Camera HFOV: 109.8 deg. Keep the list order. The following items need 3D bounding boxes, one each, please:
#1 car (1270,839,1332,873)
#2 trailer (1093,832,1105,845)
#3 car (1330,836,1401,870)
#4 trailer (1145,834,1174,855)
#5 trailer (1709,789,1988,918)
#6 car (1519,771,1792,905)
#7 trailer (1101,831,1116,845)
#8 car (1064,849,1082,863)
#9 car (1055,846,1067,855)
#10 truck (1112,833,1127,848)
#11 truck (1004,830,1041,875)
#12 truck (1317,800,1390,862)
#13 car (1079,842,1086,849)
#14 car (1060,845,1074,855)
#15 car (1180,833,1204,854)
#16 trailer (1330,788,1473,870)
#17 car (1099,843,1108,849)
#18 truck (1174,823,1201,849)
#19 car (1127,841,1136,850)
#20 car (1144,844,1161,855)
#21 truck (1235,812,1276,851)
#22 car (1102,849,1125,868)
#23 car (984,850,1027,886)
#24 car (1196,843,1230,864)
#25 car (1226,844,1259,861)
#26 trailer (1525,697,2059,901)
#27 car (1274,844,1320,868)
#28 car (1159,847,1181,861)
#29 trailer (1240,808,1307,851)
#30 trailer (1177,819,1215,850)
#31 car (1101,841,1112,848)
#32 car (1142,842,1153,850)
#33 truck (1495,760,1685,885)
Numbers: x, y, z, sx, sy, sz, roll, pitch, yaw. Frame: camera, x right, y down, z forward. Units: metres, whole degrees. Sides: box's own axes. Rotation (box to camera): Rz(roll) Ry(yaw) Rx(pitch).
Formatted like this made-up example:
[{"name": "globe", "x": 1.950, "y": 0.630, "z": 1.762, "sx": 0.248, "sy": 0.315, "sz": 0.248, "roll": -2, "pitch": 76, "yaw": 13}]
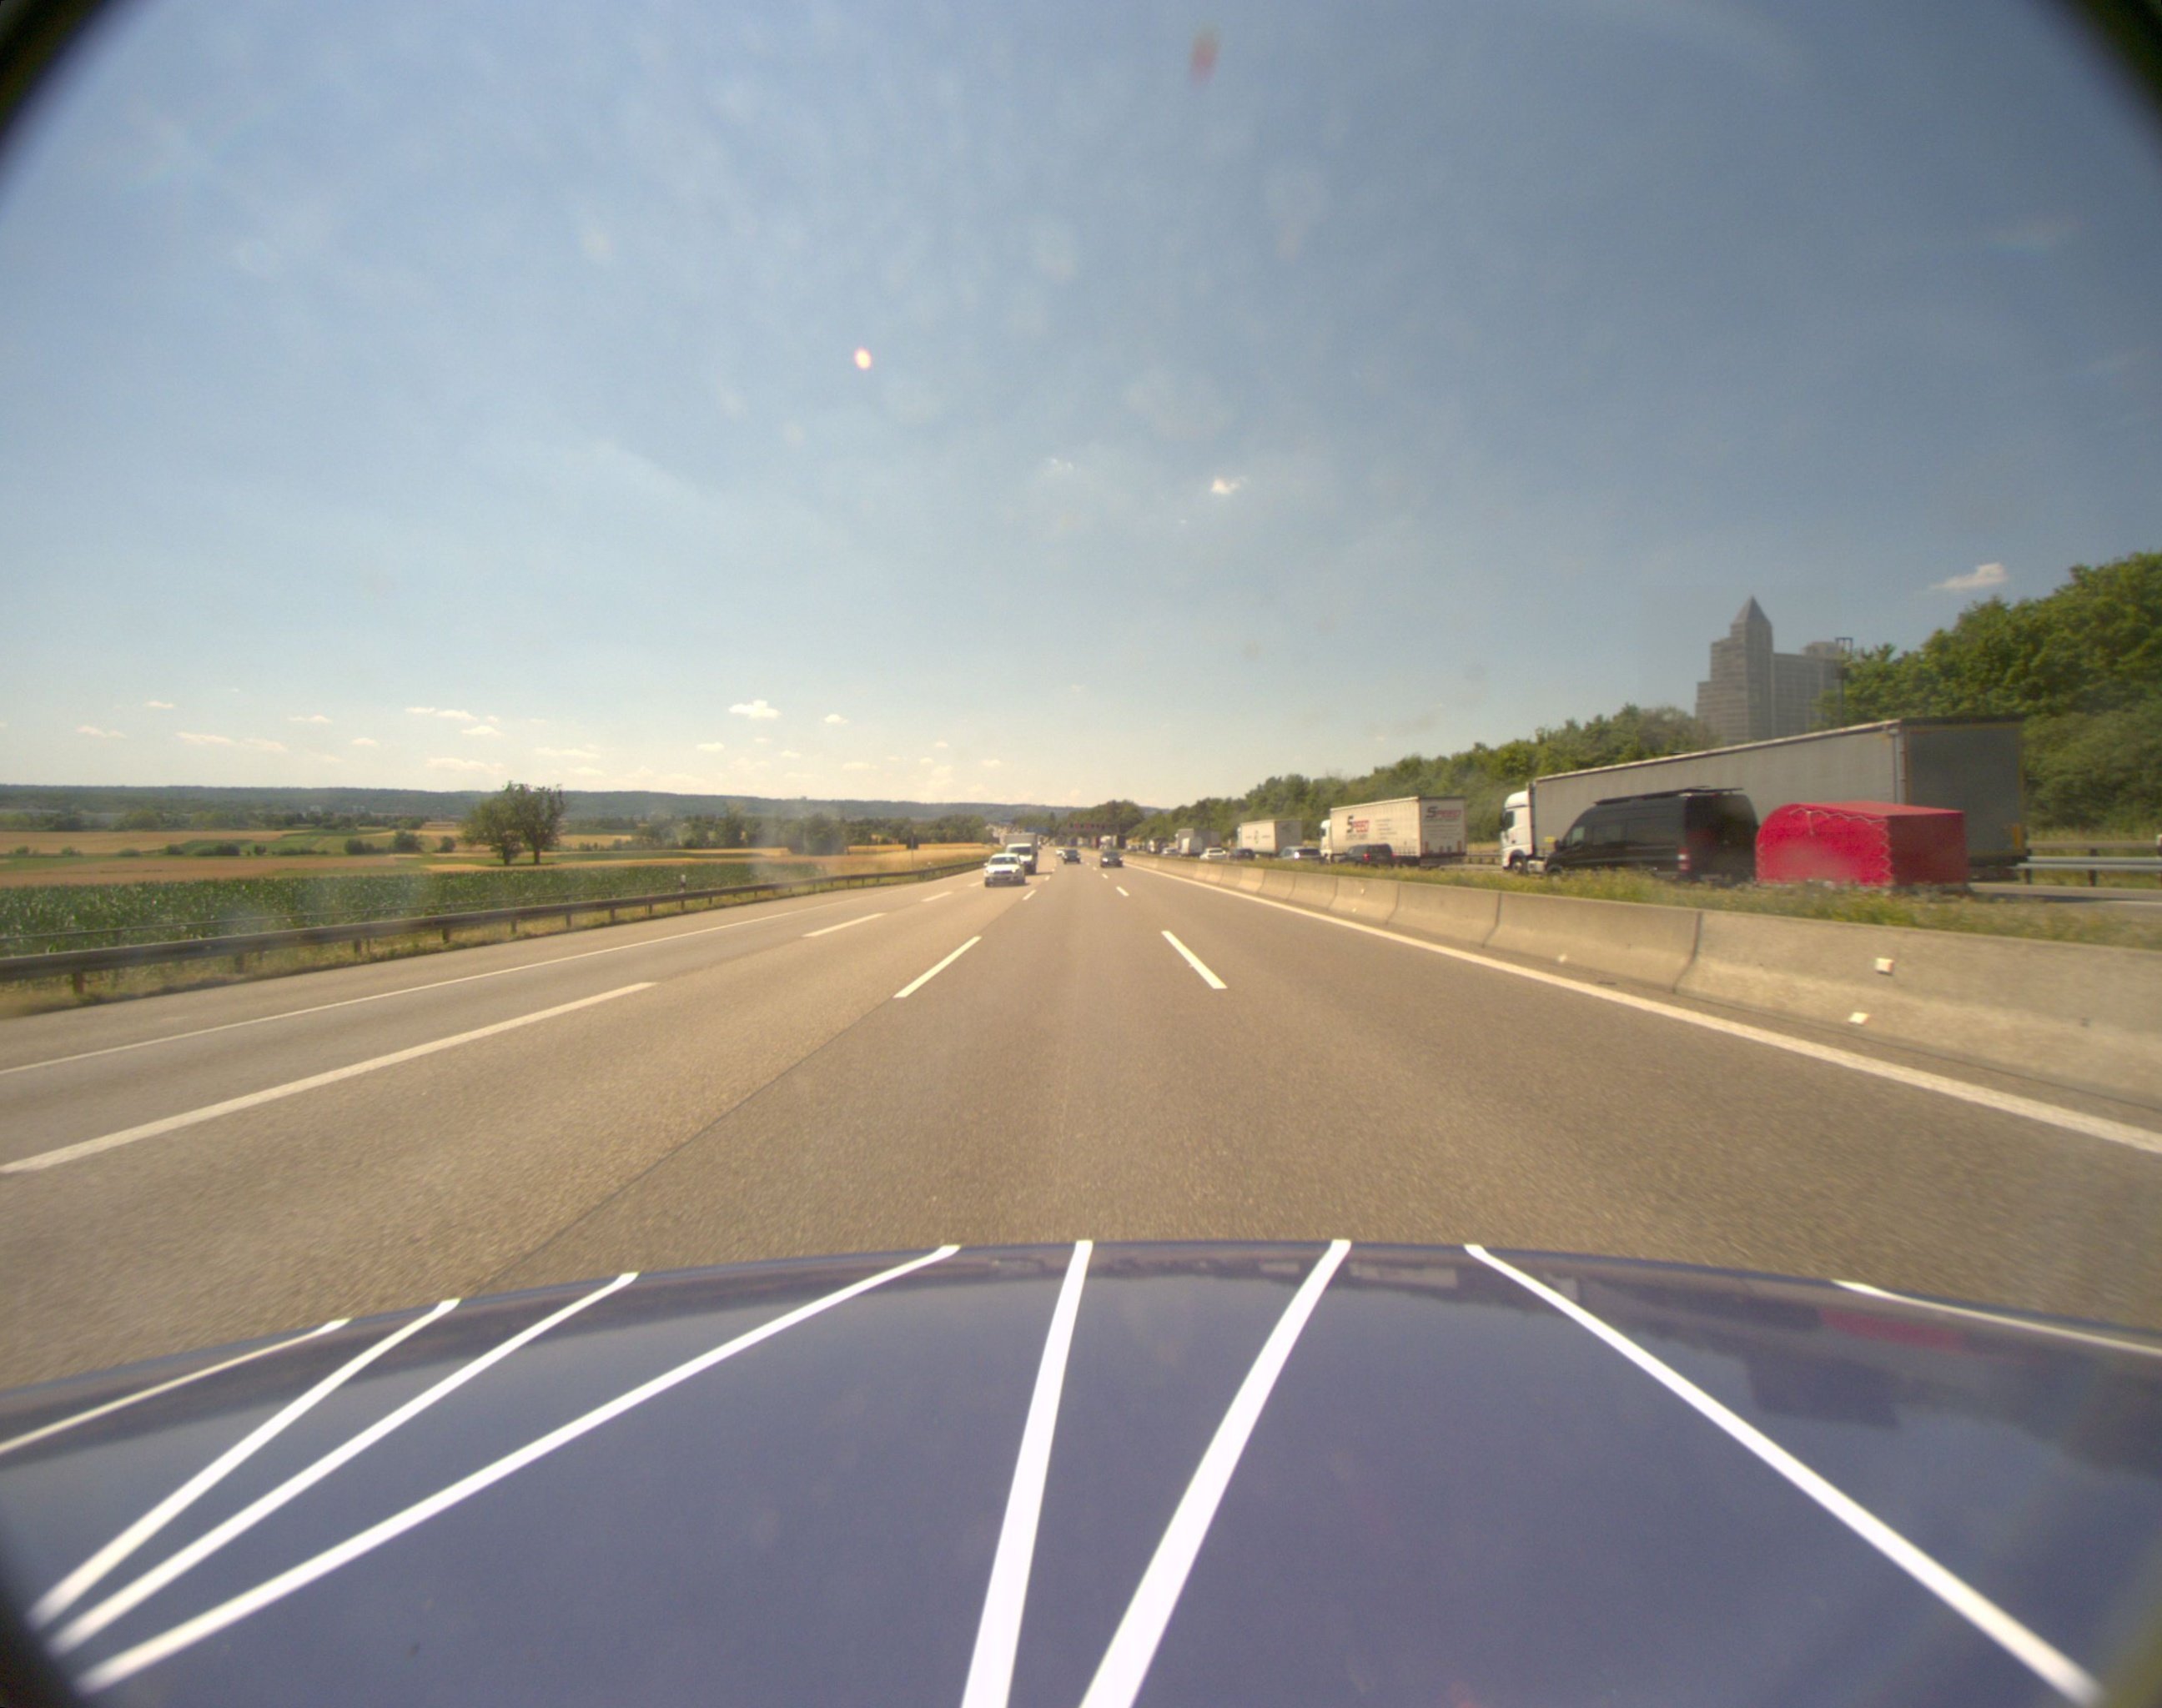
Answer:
[{"name": "car", "x": 11.712, "y": 0.089, "z": 40.815, "sx": 1.937, "sy": 1.678, "sz": 4.795, "roll": -1, "pitch": 1, "yaw": 0}, {"name": "trailer", "x": 6.182, "y": -5.385, "z": 264.118, "sx": 2.947, "sy": 4.087, "sz": 14.075, "roll": -2, "pitch": 1, "yaw": -4}, {"name": "car", "x": 15.350, "y": -0.075, "z": 41.268, "sx": 1.999, "sy": 1.705, "sz": 4.790, "roll": -2, "pitch": 1, "yaw": 0}, {"name": "trailer", "x": 13.044, "y": -1.661, "z": 126.630, "sx": 2.878, "sy": 3.166, "sz": 10.722, "roll": -2, "pitch": 2, "yaw": -4}, {"name": "trailer", "x": 15.190, "y": -0.012, "z": 15.387, "sx": 1.573, "sy": 2.240, "sz": 3.961, "roll": -1, "pitch": 0, "yaw": -2}, {"name": "car", "x": 14.966, "y": -0.372, "z": 20.544, "sx": 2.243, "sy": 2.996, "sz": 6.549, "roll": -1, "pitch": 0, "yaw": -2}, {"name": "trailer", "x": 8.513, "y": -5.028, "z": 238.219, "sx": 2.946, "sy": 4.142, "sz": 14.162, "roll": -2, "pitch": 2, "yaw": -4}, {"name": "car", "x": -0.942, "y": 0.251, "z": 86.281, "sx": 1.866, "sy": 1.426, "sz": 3.998, "roll": -1, "pitch": 1, "yaw": -2}, {"name": "car", "x": -3.761, "y": -0.603, "z": 142.591, "sx": 1.999, "sy": 1.467, "sz": 3.997, "roll": -2, "pitch": 2, "yaw": -3}, {"name": "truck", "x": 10.793, "y": -3.770, "z": 212.751, "sx": 3.017, "sy": 3.895, "sz": 10.350, "roll": -2, "pitch": 1, "yaw": -3}, {"name": "truck", "x": -4.330, "y": -0.164, "z": 56.618, "sx": 2.446, "sy": 3.011, "sz": 6.912, "roll": -2, "pitch": 1, "yaw": -4}, {"name": "truck", "x": 19.120, "y": -1.543, "z": 53.713, "sx": 2.762, "sy": 4.019, "sz": 6.097, "roll": -2, "pitch": 1, "yaw": -1}, {"name": "car", "x": 0.526, "y": -2.829, "z": 249.429, "sx": 1.962, "sy": 2.018, "sz": 4.542, "roll": -2, "pitch": 1, "yaw": -5}, {"name": "car", "x": -2.036, "y": -0.552, "z": 108.959, "sx": 1.865, "sy": 1.322, "sz": 3.999, "roll": -1, "pitch": 1, "yaw": 1}, {"name": "car", "x": 14.396, "y": -1.377, "z": 99.206, "sx": 1.902, "sy": 2.559, "sz": 7.570, "roll": -2, "pitch": 1, "yaw": -1}, {"name": "trailer", "x": 19.240, "y": -1.402, "z": 47.130, "sx": 2.818, "sy": 4.253, "sz": 13.865, "roll": -2, "pitch": 1, "yaw": 0}, {"name": "car", "x": 6.238, "y": -2.106, "z": 208.356, "sx": 1.999, "sy": 1.512, "sz": 5.148, "roll": -2, "pitch": 1, "yaw": -4}, {"name": "truck", "x": 17.437, "y": -2.925, "z": 124.683, "sx": 3.208, "sy": 4.109, "sz": 6.180, "roll": -1, "pitch": 1, "yaw": -2}, {"name": "car", "x": 10.669, "y": -1.834, "z": 160.601, "sx": 1.846, "sy": 1.668, "sz": 4.441, "roll": -1, "pitch": 1, "yaw": 2}, {"name": "car", "x": 12.592, "y": -0.851, "z": 134.360, "sx": 2.113, "sy": 1.713, "sz": 4.928, "roll": -2, "pitch": 1, "yaw": -4}, {"name": "truck", "x": 18.945, "y": -2.400, "z": 82.770, "sx": 2.855, "sy": 3.984, "sz": 5.972, "roll": -2, "pitch": 1, "yaw": -1}, {"name": "car", "x": 2.887, "y": 0.409, "z": 67.341, "sx": 1.807, "sy": 1.534, "sz": 4.750, "roll": -1, "pitch": -1, "yaw": 0}, {"name": "car", "x": -3.835, "y": 0.684, "z": 39.109, "sx": 1.837, "sy": 1.636, "sz": 4.171, "roll": -2, "pitch": 1, "yaw": -2}, {"name": "car", "x": 11.173, "y": -0.048, "z": 64.422, "sx": 1.999, "sy": 1.634, "sz": 4.404, "roll": -2, "pitch": 2, "yaw": -1}, {"name": "car", "x": 15.176, "y": -0.166, "z": 71.747, "sx": 1.881, "sy": 1.426, "sz": 4.923, "roll": -2, "pitch": 1, "yaw": -1}, {"name": "trailer", "x": 19.174, "y": -1.276, "z": 23.133, "sx": 2.989, "sy": 4.182, "sz": 14.190, "roll": -2, "pitch": 1, "yaw": 0}, {"name": "car", "x": 14.857, "y": 0.096, "z": 52.511, "sx": 1.886, "sy": 1.466, "sz": 4.405, "roll": -2, "pitch": 2, "yaw": -1}, {"name": "car", "x": 10.658, "y": -0.038, "z": 90.953, "sx": 1.999, "sy": 1.570, "sz": 4.594, "roll": -2, "pitch": 1, "yaw": -1}, {"name": "trailer", "x": 19.051, "y": -2.319, "z": 76.388, "sx": 2.911, "sy": 3.851, "sz": 13.873, "roll": -2, "pitch": 1, "yaw": -1}, {"name": "trailer", "x": 17.741, "y": -2.939, "z": 118.196, "sx": 3.230, "sy": 4.396, "sz": 13.774, "roll": -1, "pitch": 1, "yaw": -2}, {"name": "car", "x": 6.092, "y": -2.230, "z": 180.918, "sx": 1.999, "sy": 1.437, "sz": 4.790, "roll": -2, "pitch": 1, "yaw": -4}, {"name": "car", "x": 14.598, "y": -1.742, "z": 166.645, "sx": 1.998, "sy": 1.512, "sz": 4.306, "roll": -1, "pitch": 1, "yaw": 1}, {"name": "truck", "x": 19.303, "y": -1.136, "z": 29.428, "sx": 2.969, "sy": 4.186, "sz": 6.603, "roll": -2, "pitch": 1, "yaw": 1}]
